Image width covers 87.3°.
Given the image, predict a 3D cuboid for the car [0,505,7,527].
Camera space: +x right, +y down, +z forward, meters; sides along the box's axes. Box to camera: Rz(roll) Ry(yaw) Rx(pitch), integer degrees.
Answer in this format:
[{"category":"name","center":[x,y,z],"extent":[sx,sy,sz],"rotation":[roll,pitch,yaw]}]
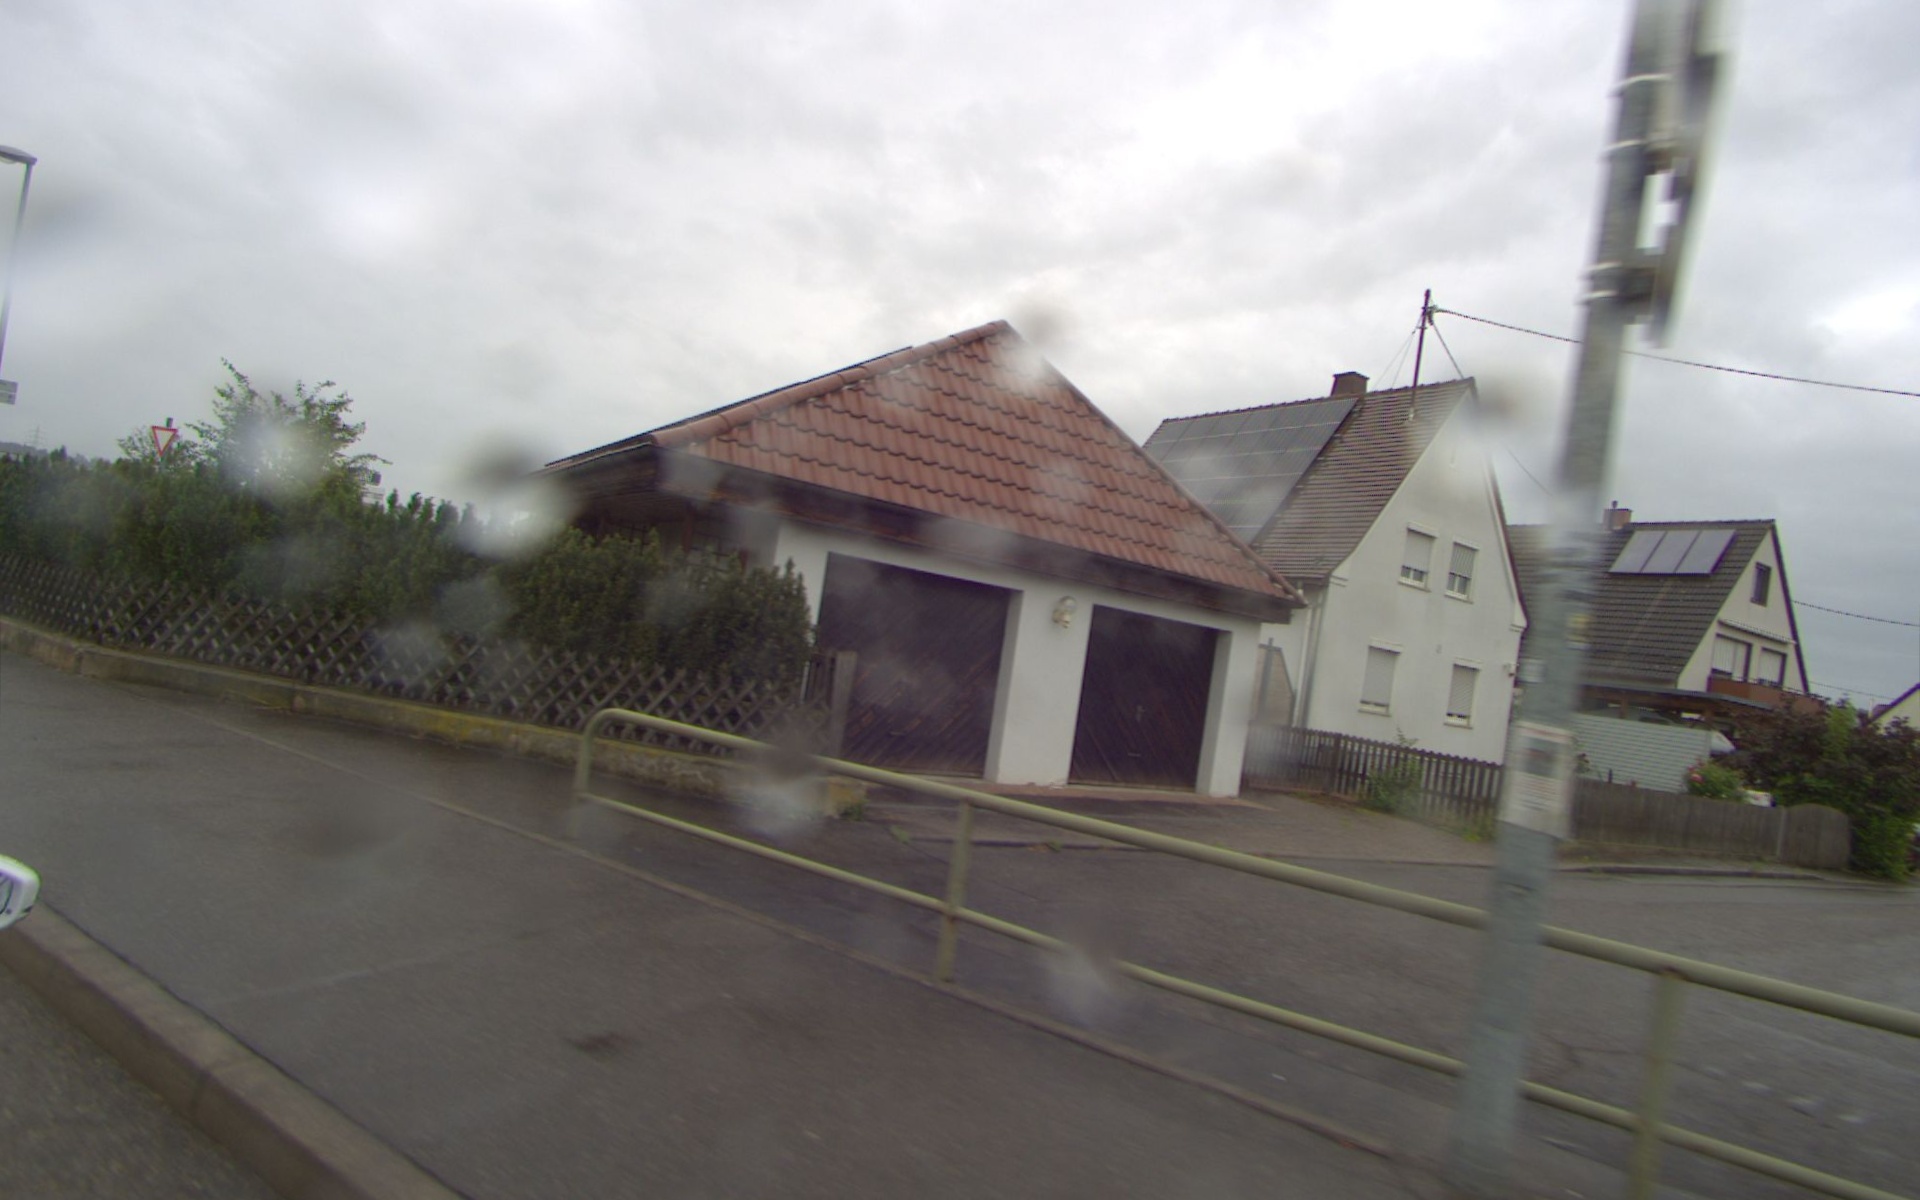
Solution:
[{"category":"car","center":[-69.275,-6.137,71.288],"extent":[1.985,1.495,3.960],"rotation":[9,-3,-37]}]

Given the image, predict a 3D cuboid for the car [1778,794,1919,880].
[{"category":"car","center":[22.903,5.985,25.315],"extent":[1.654,1.457,3.352],"rotation":[9,-3,-2]}]
